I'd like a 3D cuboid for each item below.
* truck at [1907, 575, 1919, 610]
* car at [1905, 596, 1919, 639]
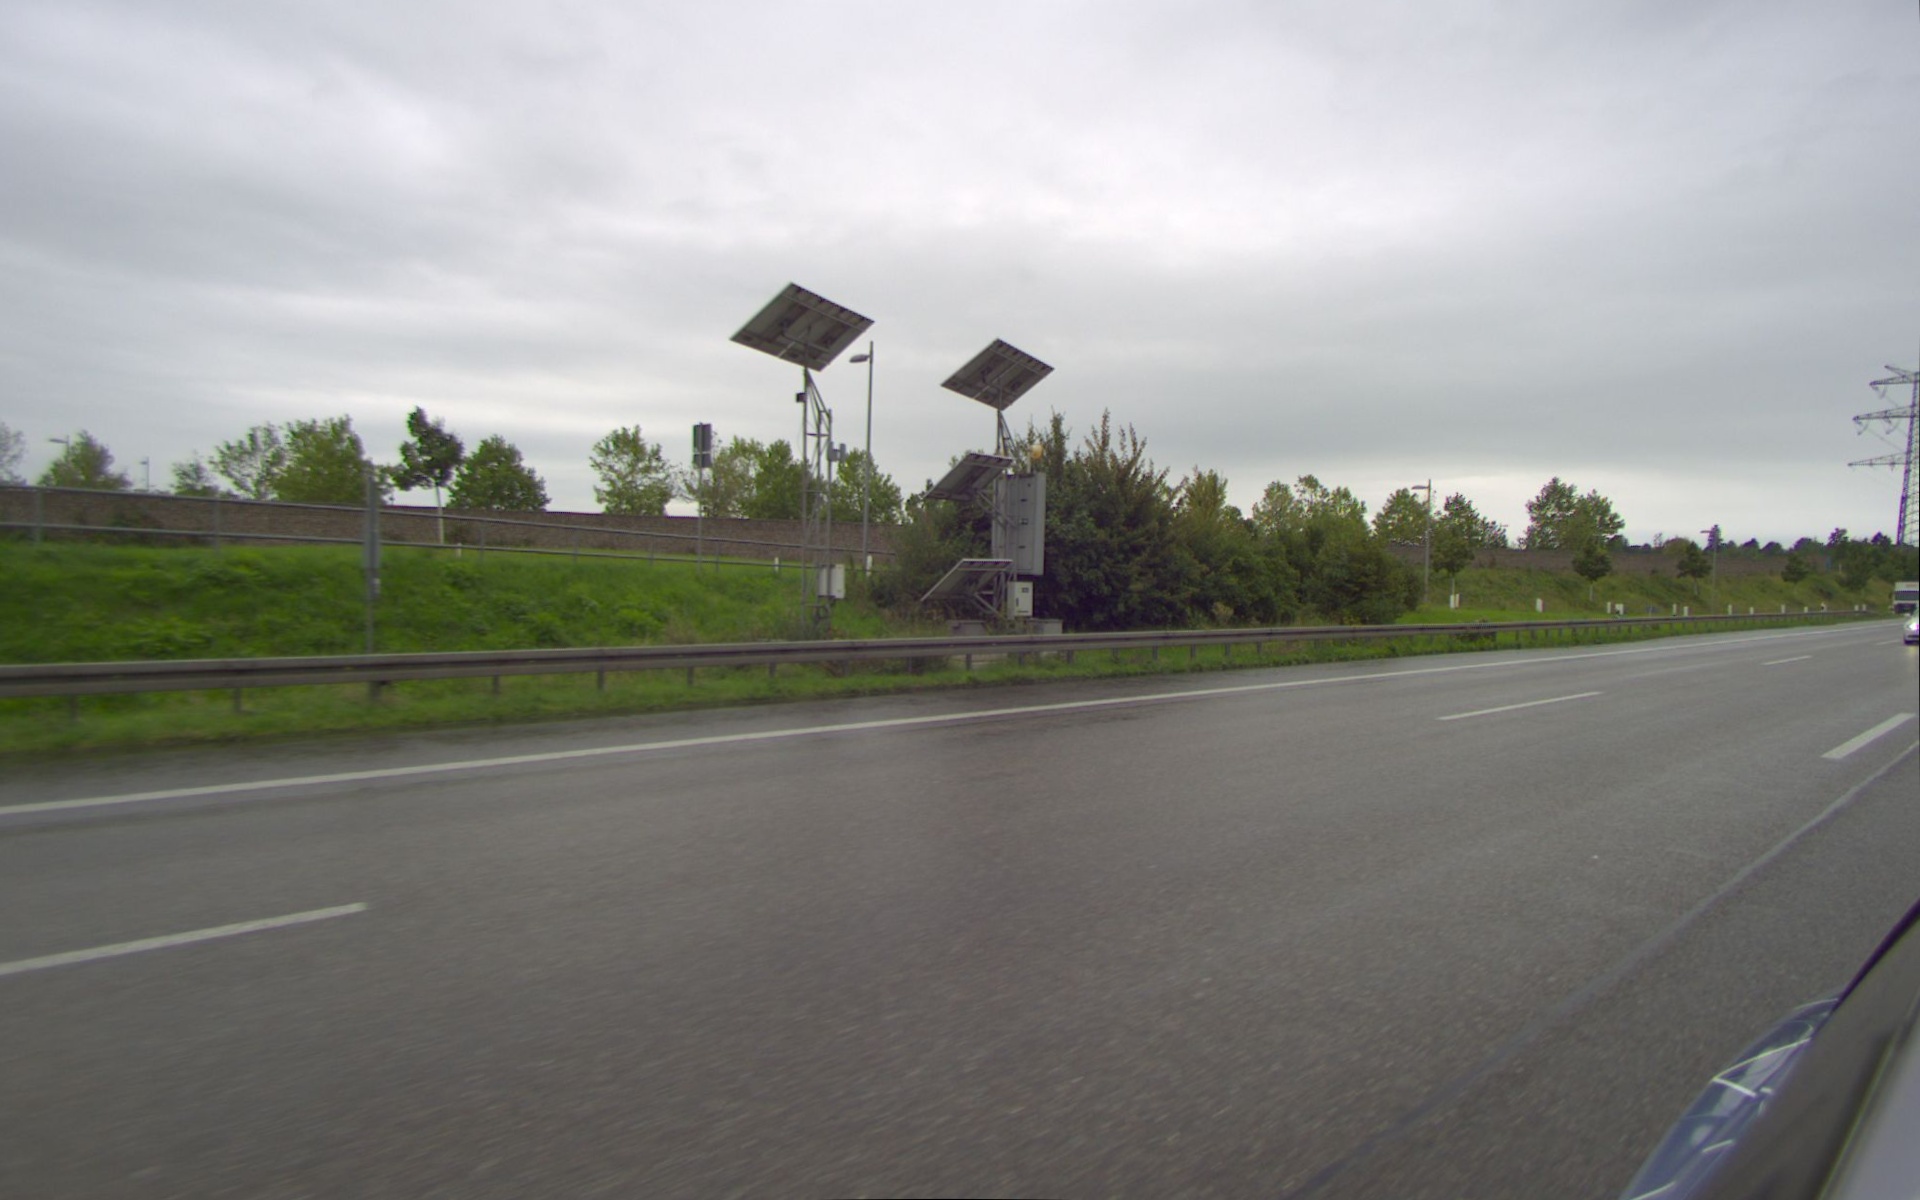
[{"bbox_3d":[97.644,-0.781,101.614,6.804,3.386,2.649,-1,1,-38],"label":"truck"},{"bbox_3d":[34.890,0.600,35.452,3.927,1.444,1.999,-1,1,-38],"label":"car"}]
